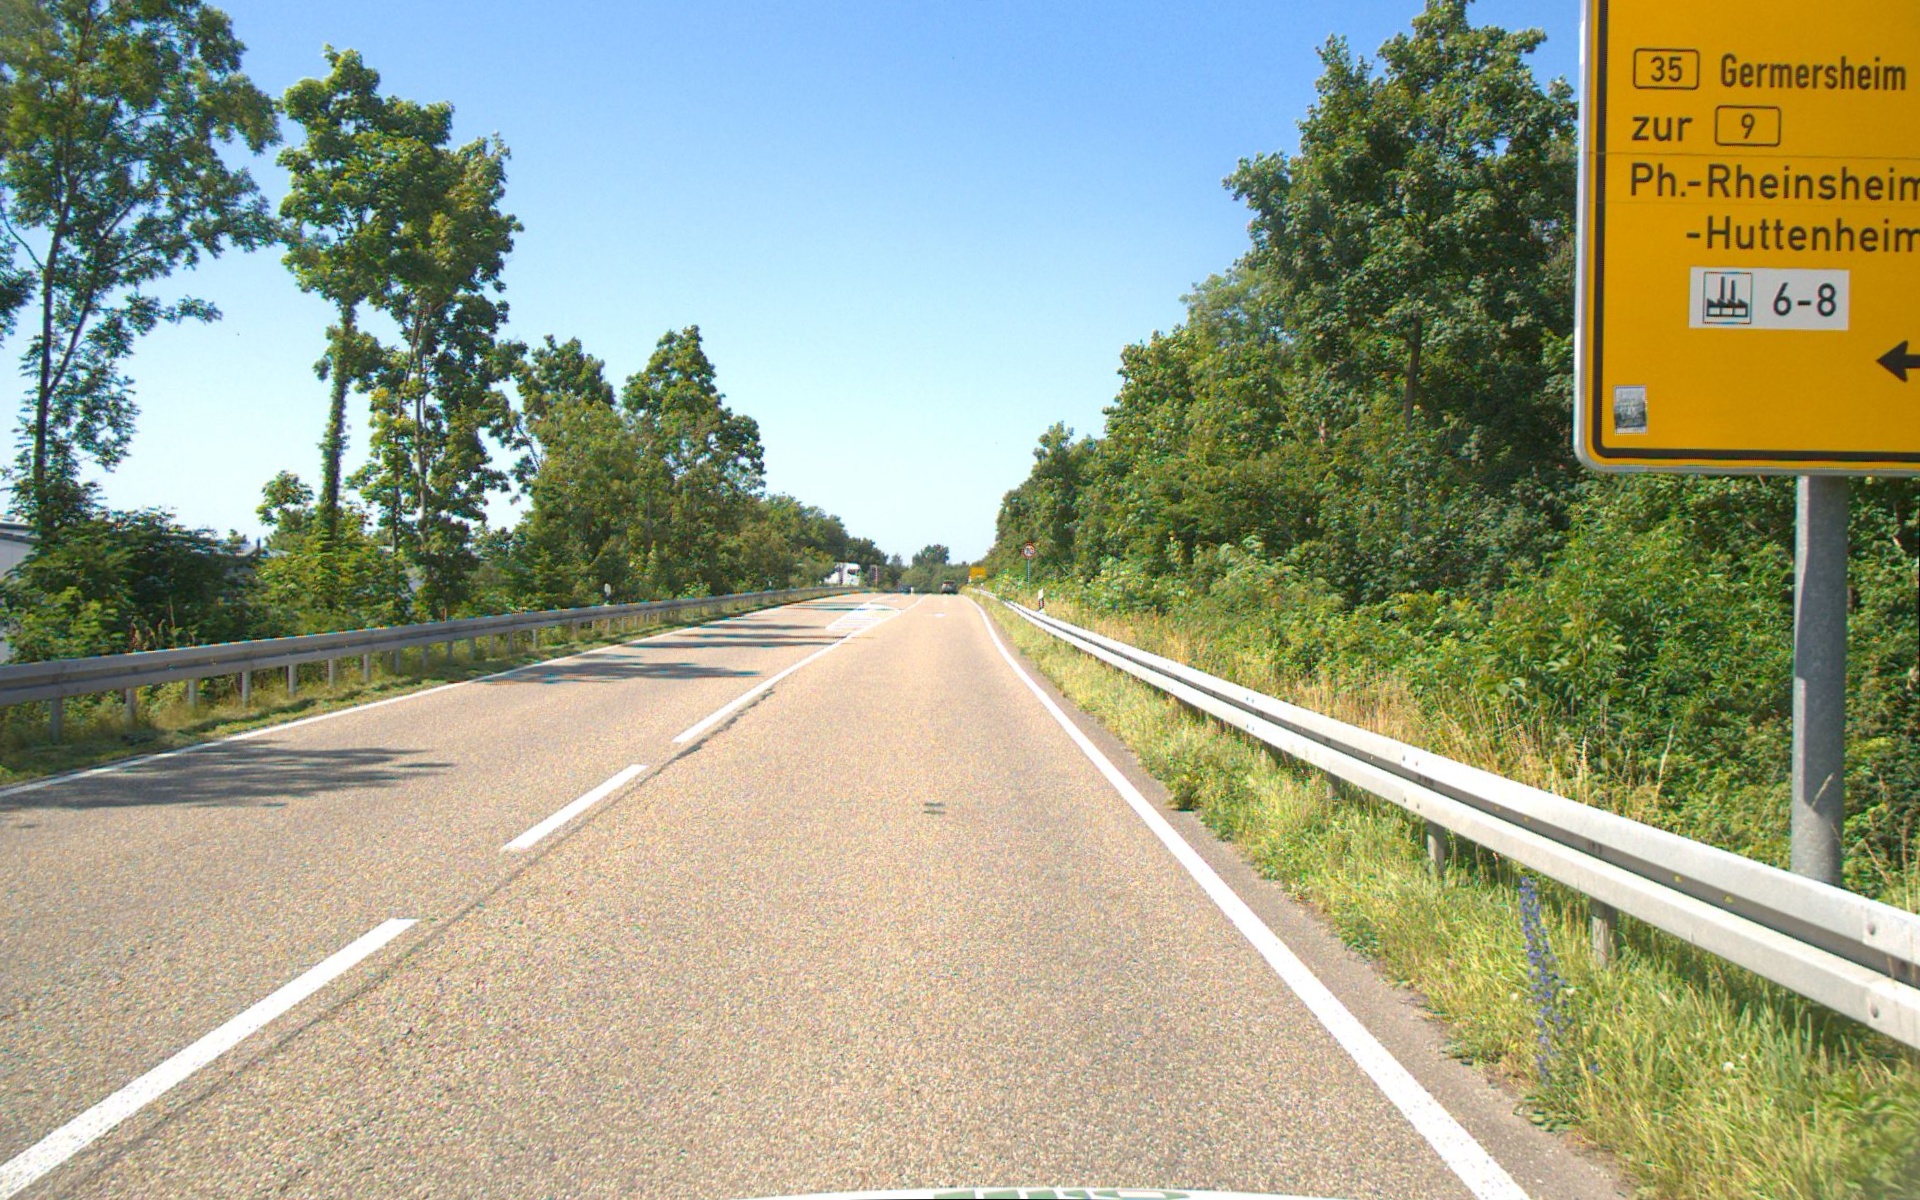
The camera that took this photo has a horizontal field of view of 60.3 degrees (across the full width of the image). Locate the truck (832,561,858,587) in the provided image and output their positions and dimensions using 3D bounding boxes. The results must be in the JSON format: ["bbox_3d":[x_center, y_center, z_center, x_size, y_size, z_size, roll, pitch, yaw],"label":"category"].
[{"bbox_3d":[-16.093,-3.602,231.589,3.394,3.599,2.000,1,0,1],"label":"truck"}]

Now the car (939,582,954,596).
[{"bbox_3d":[-1.577,-1.286,192.288,1.705,1.496,3.692,1,1,-1],"label":"car"}]

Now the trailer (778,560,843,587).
[{"bbox_3d":[-20.916,-3.680,231.677,8.914,3.641,2.000,1,0,1],"label":"trailer"}]
